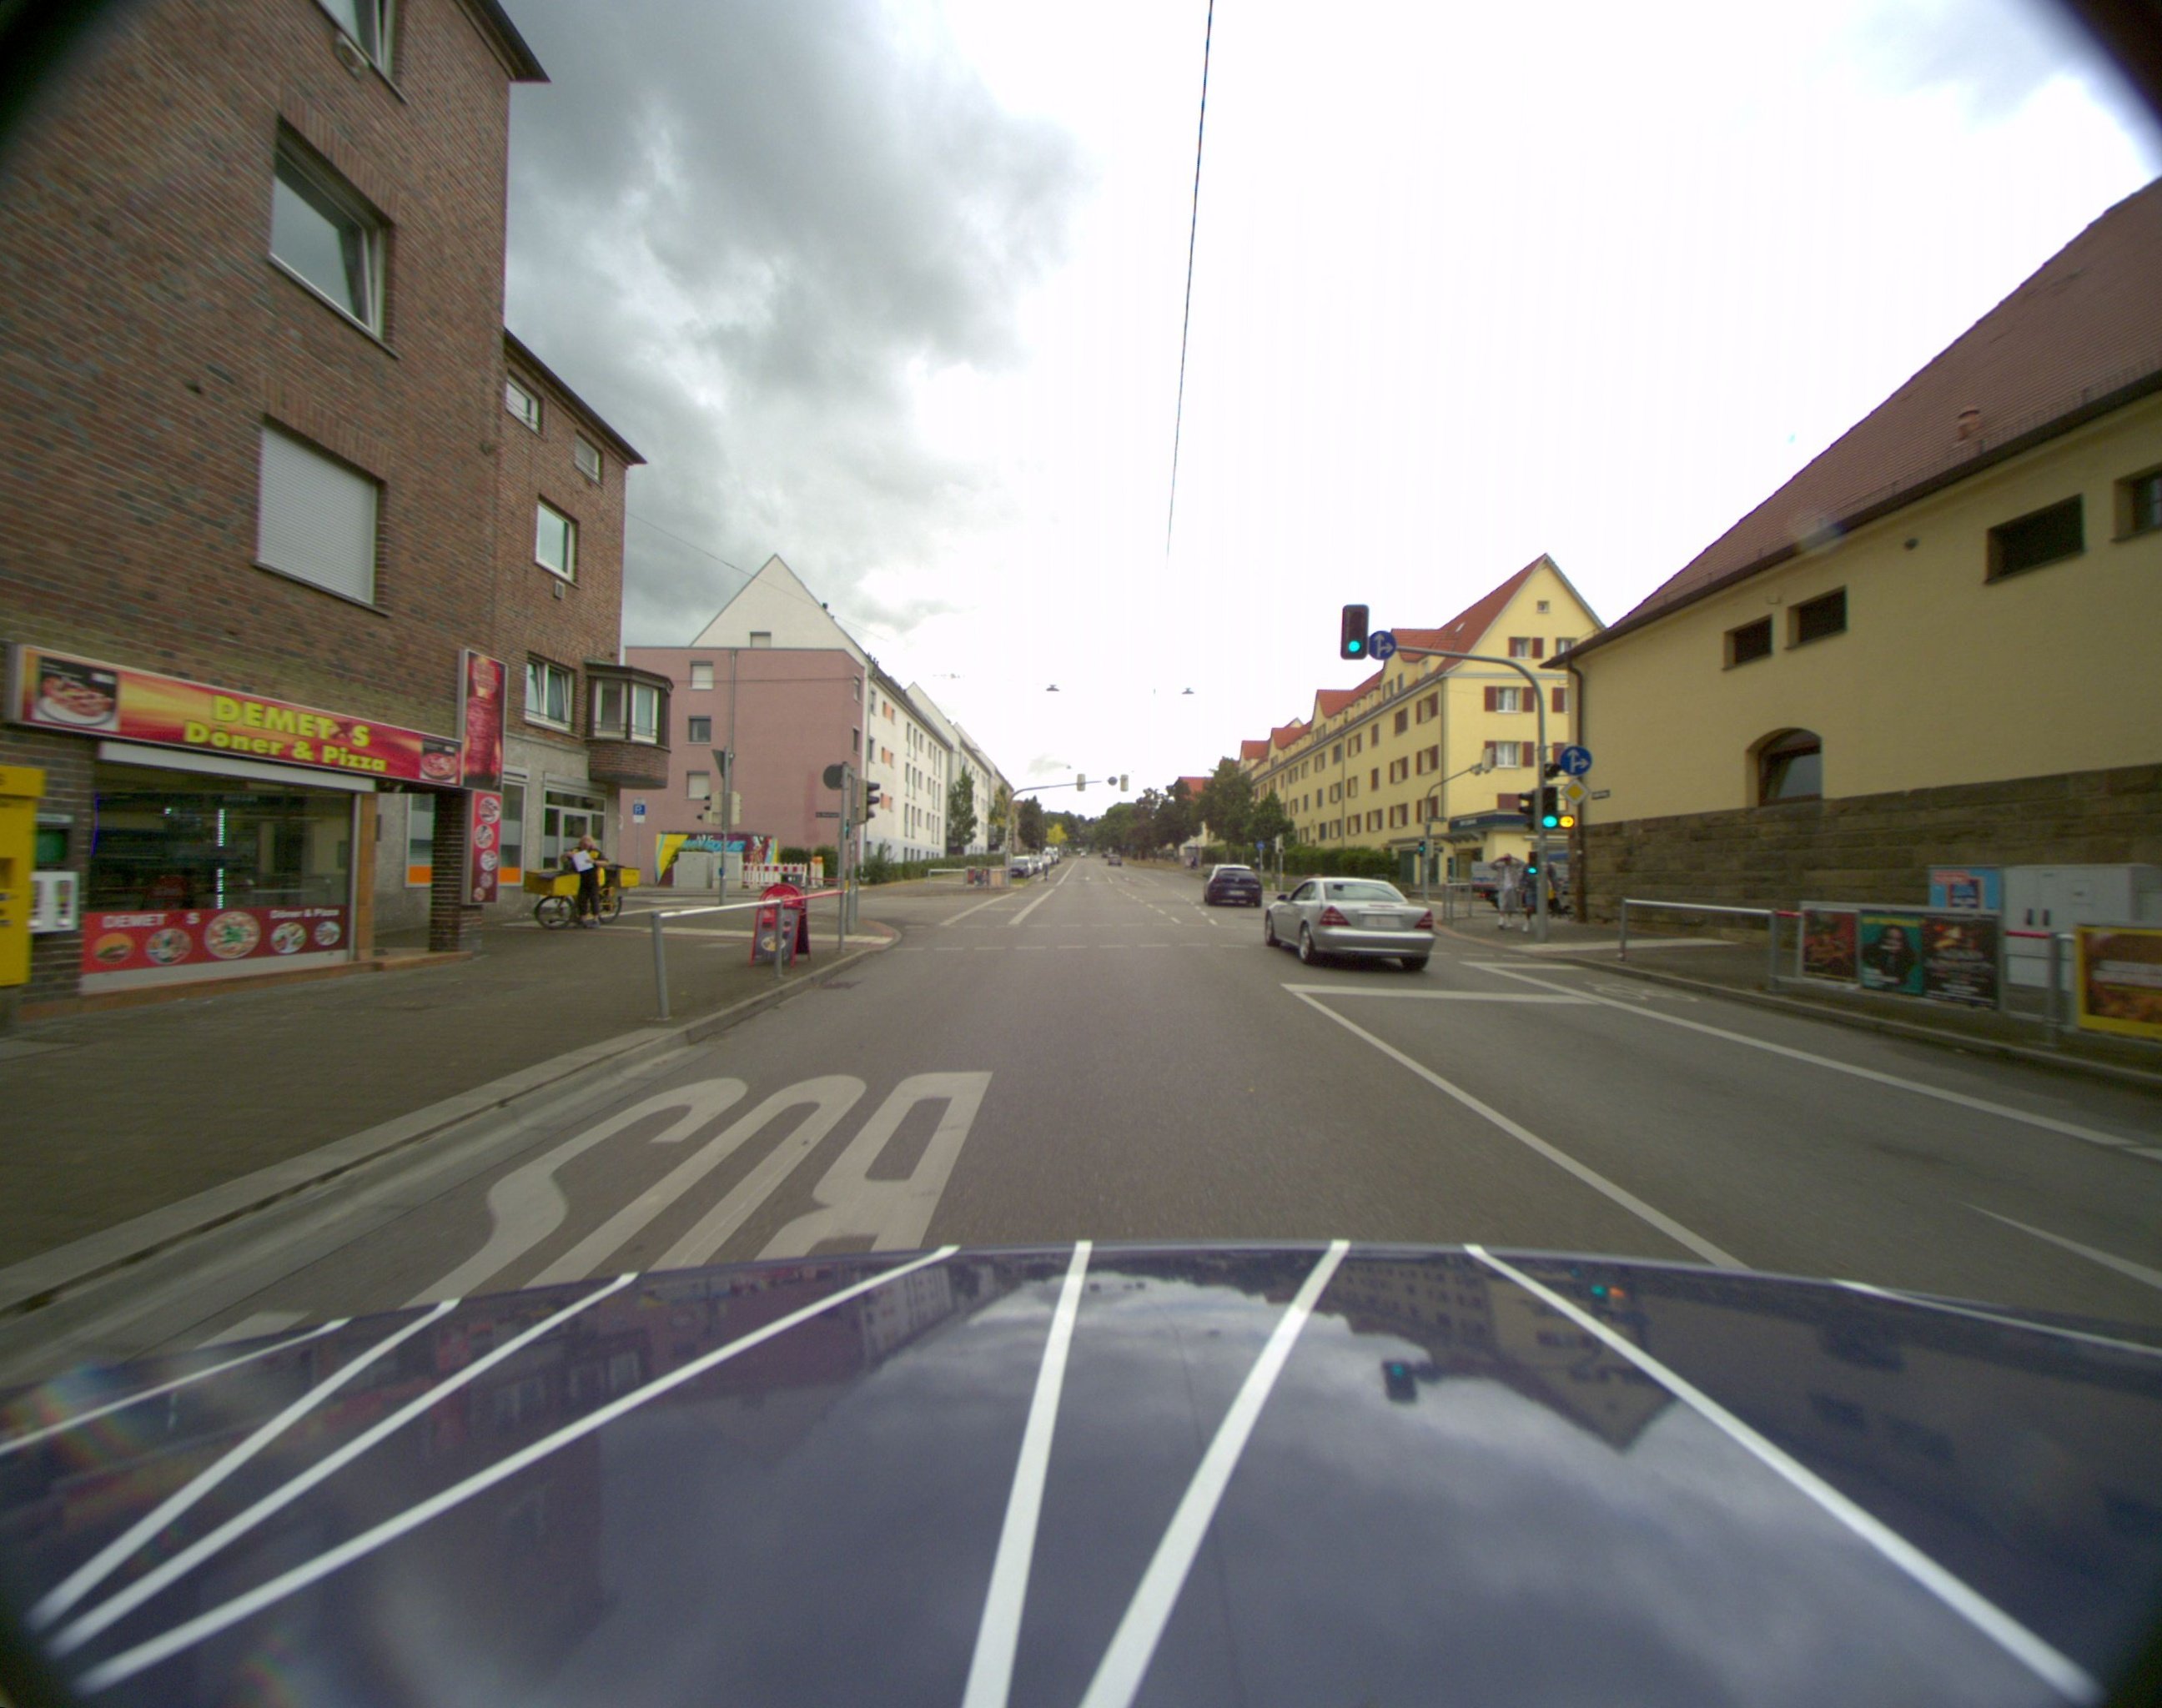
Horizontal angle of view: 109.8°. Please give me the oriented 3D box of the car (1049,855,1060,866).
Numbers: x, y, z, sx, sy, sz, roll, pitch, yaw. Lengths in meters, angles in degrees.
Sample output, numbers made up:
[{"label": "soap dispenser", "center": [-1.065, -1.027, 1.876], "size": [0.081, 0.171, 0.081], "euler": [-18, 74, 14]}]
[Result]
[{"label": "car", "center": [-3.814, 0.925, 110.455], "size": [1.529, 1.477, 3.726], "euler": [-1, 0, 0]}]

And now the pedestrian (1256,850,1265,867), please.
[{"label": "pedestrian", "center": [16.590, 0.416, 70.272], "size": [0.642, 1.610, 0.618], "euler": [1, 1, -1]}]

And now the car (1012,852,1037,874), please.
[{"label": "car", "center": [-4.601, 0.724, 62.022], "size": [1.663, 1.706, 4.551], "euler": [-1, 0, 0]}]

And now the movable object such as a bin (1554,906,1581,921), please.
[{"label": "movable object such as a bin", "center": [13.021, 1.584, 20.337], "size": [0.307, 0.345, 0.581], "euler": [2, 1, -7]}]

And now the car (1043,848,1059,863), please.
[{"label": "car", "center": [-4.149, 0.186, 105.431], "size": [1.999, 1.932, 5.211], "euler": [1, 0, 0]}]

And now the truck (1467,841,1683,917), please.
[{"label": "truck", "center": [17.444, 0.859, 26.973], "size": [6.411, 2.413, 2.301], "euler": [2, 0, -8]}]

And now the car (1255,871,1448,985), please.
[{"label": "car", "center": [4.027, 1.016, 12.067], "size": [1.689, 1.268, 4.095], "euler": [3, 1, 2]}]

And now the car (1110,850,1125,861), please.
[{"label": "car", "center": [5.099, 0.173, 106.869], "size": [1.761, 1.464, 4.305], "euler": [4, 0, -1]}]

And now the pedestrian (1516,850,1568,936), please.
[{"label": "pedestrian", "center": [9.756, 0.813, 16.109], "size": [0.565, 1.766, 0.842], "euler": [1, 1, 0]}]

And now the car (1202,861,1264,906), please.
[{"label": "car", "center": [5.338, 0.996, 27.054], "size": [1.706, 1.406, 4.194], "euler": [1, 0, 5]}]

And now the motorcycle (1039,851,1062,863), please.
[{"label": "motorcycle", "center": [-3.608, 0.369, 89.309], "size": [2.605, 1.372, 0.692], "euler": [1, 1, -4]}]

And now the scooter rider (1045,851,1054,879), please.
[{"label": "scooter rider", "center": [-2.224, 0.777, 53.852], "size": [0.627, 2.002, 0.757], "euler": [1, 1, -1]}]

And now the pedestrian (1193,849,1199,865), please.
[{"label": "pedestrian", "center": [12.720, 0.349, 84.258], "size": [0.598, 1.717, 0.861], "euler": [0, 1, 3]}]

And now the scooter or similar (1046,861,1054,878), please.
[{"label": "scooter or similar", "center": [-2.197, 1.088, 53.887], "size": [0.492, 1.156, 2.074], "euler": [1, 0, 0]}]

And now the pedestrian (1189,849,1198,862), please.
[{"label": "pedestrian", "center": [12.864, 0.174, 86.664], "size": [0.901, 1.501, 0.806], "euler": [-1, 1, 1]}]

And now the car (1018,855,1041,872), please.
[{"label": "car", "center": [-4.651, 0.819, 68.934], "size": [1.750, 1.459, 4.948], "euler": [-1, 0, -1]}]

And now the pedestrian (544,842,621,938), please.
[{"label": "pedestrian", "center": [-8.931, 0.627, 13.638], "size": [0.790, 1.646, 0.772], "euler": [3, 1, 1]}]

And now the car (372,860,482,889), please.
[{"label": "car", "center": [-32.347, 1.023, 37.731], "size": [1.749, 1.347, 3.900], "euler": [1, -1, 8]}]

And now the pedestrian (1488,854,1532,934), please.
[{"label": "pedestrian", "center": [9.677, 0.876, 17.153], "size": [0.565, 1.766, 0.717], "euler": [1, 1, 0]}]

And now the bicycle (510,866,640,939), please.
[{"label": "bicycle", "center": [-9.212, 0.830, 13.982], "size": [0.761, 1.186, 2.391], "euler": [1, 0, 1]}]

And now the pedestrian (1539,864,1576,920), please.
[{"label": "pedestrian", "center": [13.507, 1.064, 21.546], "size": [0.565, 1.557, 0.842], "euler": [1, 1, 6]}]

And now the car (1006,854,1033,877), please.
[{"label": "car", "center": [-4.543, 0.846, 56.553], "size": [1.739, 1.579, 4.571], "euler": [-1, 1, -1]}]

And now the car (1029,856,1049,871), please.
[{"label": "car", "center": [-4.077, 0.882, 74.453], "size": [1.734, 1.405, 4.499], "euler": [-1, 0, -1]}]

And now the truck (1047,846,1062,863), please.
[{"label": "truck", "center": [-4.002, 0.022, 115.868], "size": [2.058, 2.550, 5.689], "euler": [1, 0, -1]}]
